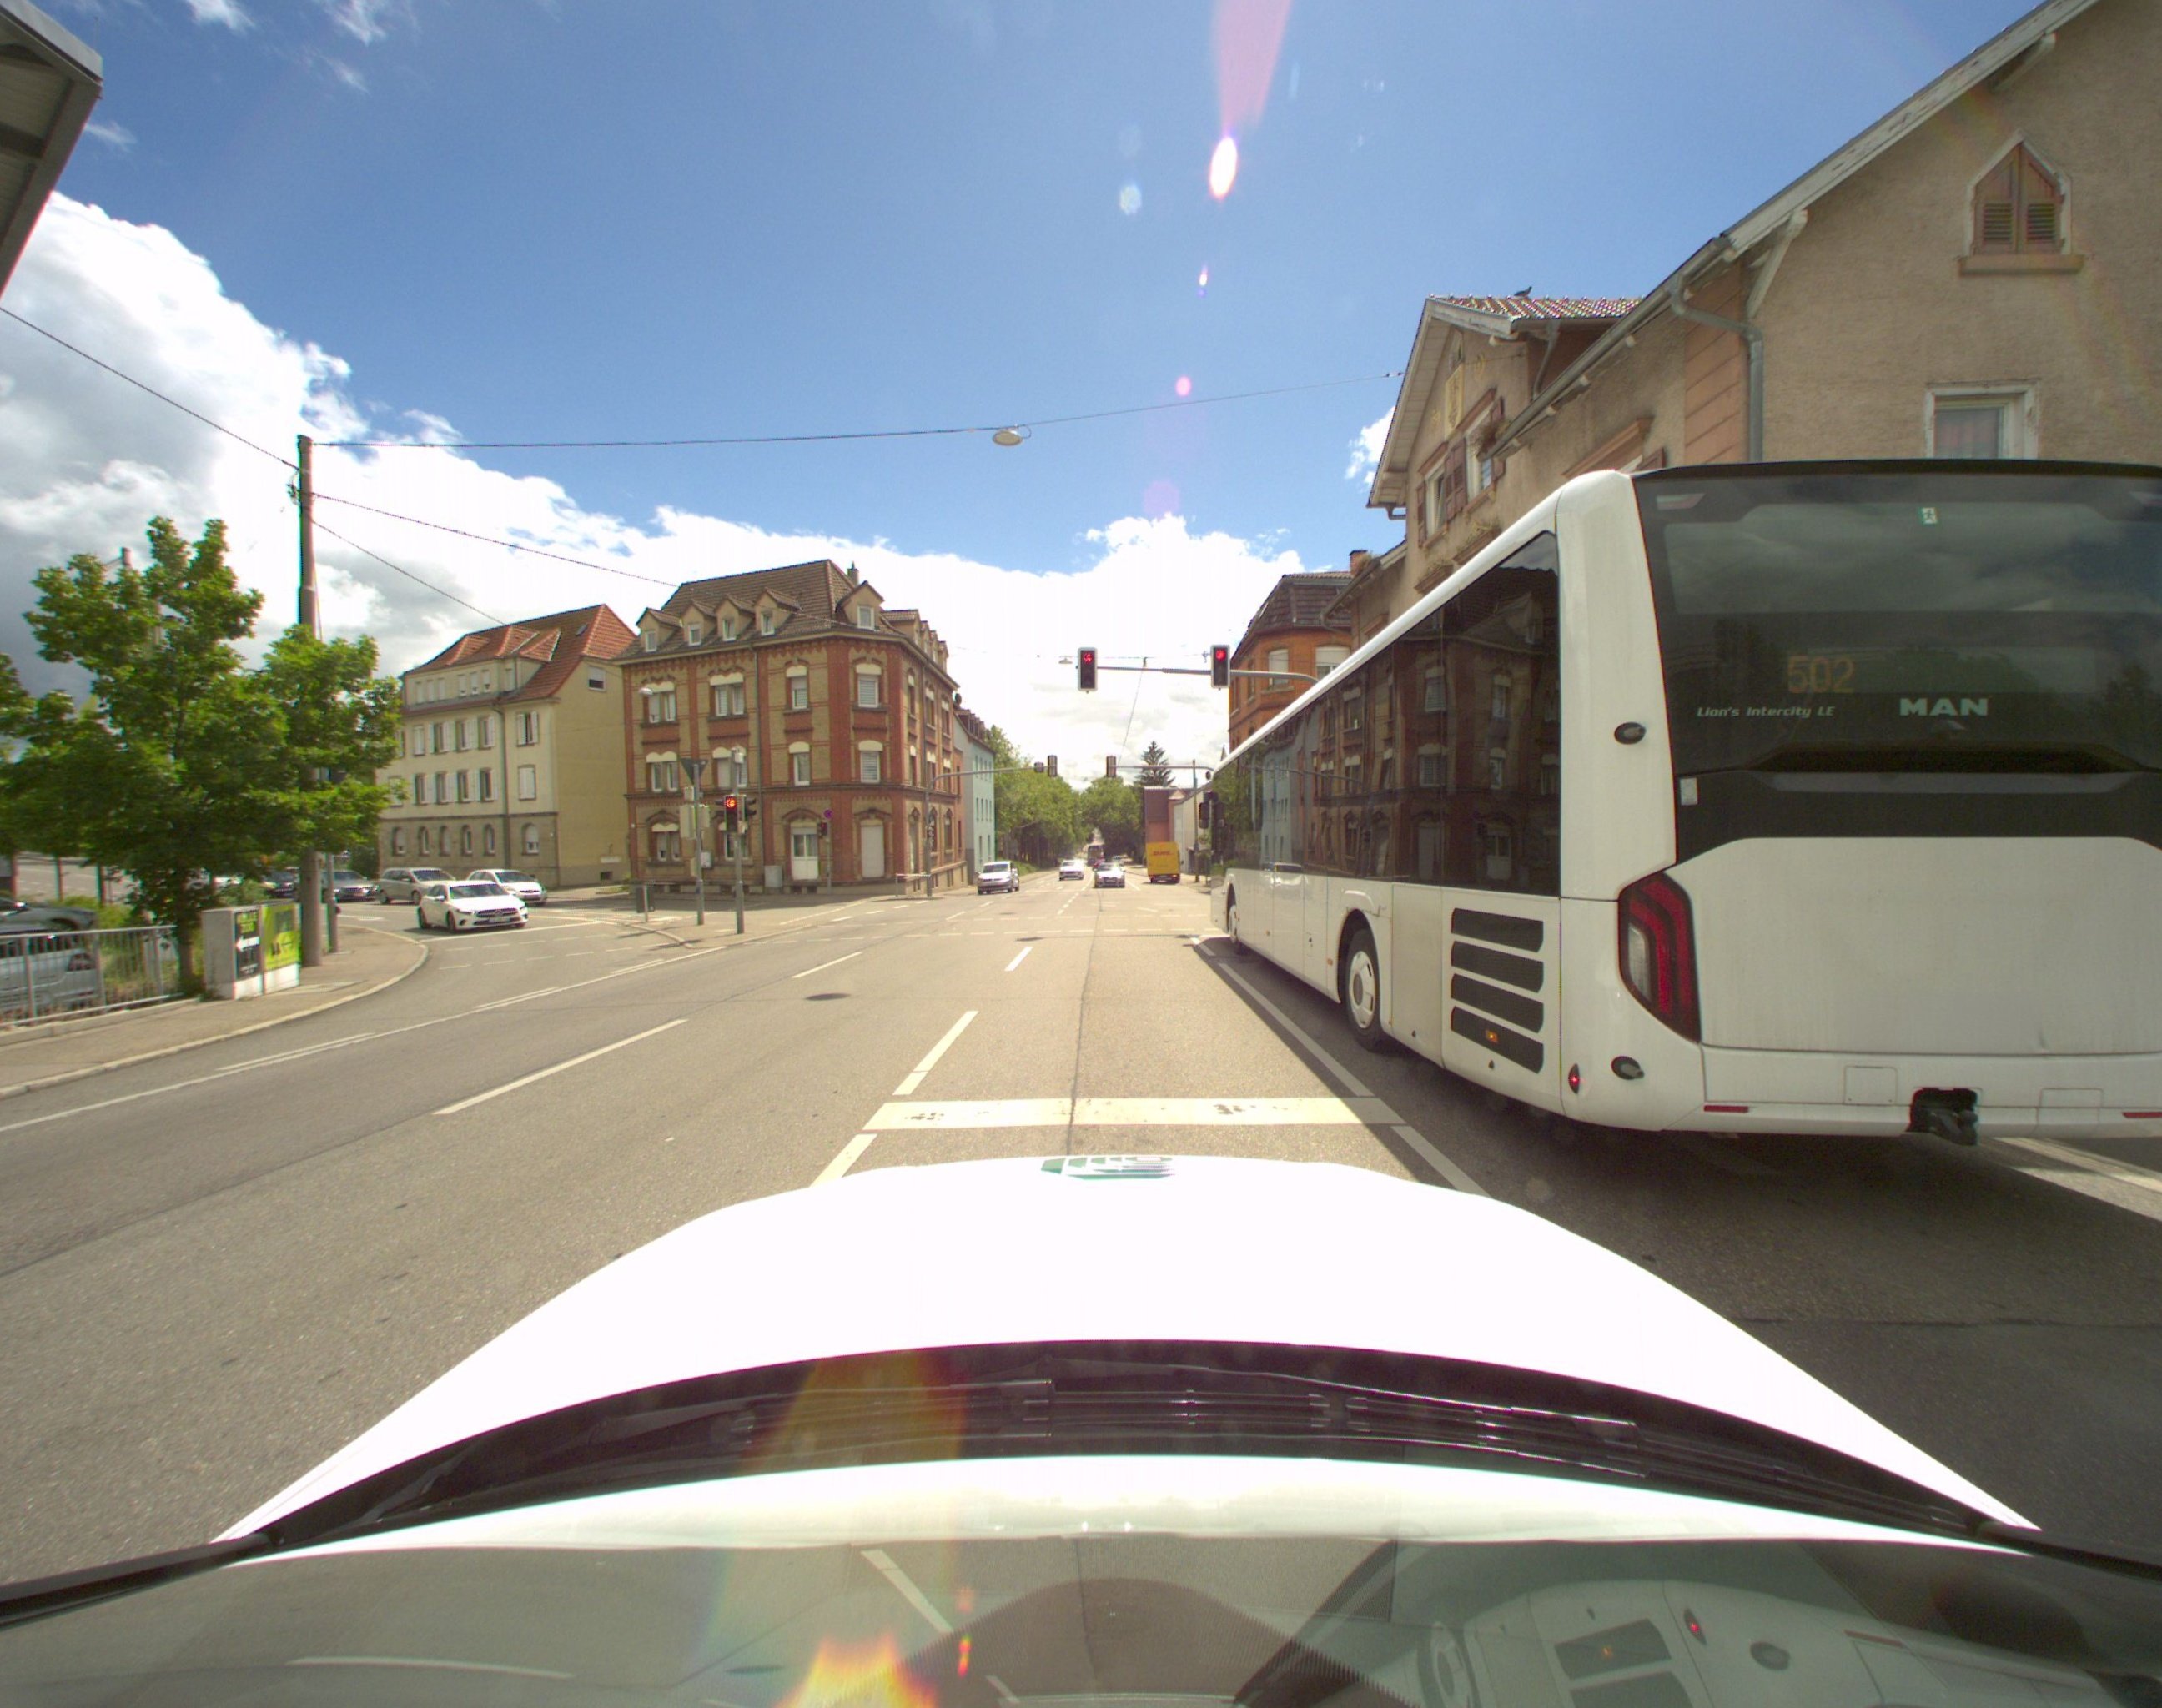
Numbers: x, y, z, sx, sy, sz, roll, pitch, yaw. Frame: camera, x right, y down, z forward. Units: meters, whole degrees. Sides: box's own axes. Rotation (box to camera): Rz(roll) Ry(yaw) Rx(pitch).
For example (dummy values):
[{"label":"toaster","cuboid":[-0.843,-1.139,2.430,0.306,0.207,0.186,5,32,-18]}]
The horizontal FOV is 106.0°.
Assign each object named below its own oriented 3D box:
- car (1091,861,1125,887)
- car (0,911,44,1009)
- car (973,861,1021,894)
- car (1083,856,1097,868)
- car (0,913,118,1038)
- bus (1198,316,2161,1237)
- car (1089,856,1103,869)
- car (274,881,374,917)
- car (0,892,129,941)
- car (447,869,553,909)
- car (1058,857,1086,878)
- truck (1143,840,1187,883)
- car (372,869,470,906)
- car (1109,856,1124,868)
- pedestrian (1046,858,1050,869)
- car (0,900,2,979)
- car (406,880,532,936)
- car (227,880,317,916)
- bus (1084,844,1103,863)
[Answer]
[{"label":"car","cuboid":[1.557,1.134,47.136,1.858,1.367,4.549,-2,0,2]},{"label":"car","cuboid":[-19.710,1.835,14.154,3.744,1.523,1.526,-1,0,30]},{"label":"car","cuboid":[-4.414,1.212,43.574,1.928,1.563,4.390,-2,0,2]},{"label":"car","cuboid":[1.474,1.330,137.318,2.086,1.830,4.140,-1,0,-1]},{"label":"car","cuboid":[-16.115,1.744,12.185,3.638,1.575,1.766,-1,-2,34]},{"label":"bus","cuboid":[3.502,-0.254,9.356,2.893,3.510,12.492,0,0,2]},{"label":"car","cuboid":[2.071,1.126,110.240,1.812,1.784,4.002,-2,0,2]},{"label":"car","cuboid":[-35.451,2.080,38.142,3.951,1.519,2.011,-1,0,24]},{"label":"car","cuboid":[-29.252,1.733,22.216,1.795,1.186,4.025,-1,0,31]},{"label":"car","cuboid":[-23.598,1.394,33.063,3.951,1.497,1.711,-1,0,24]},{"label":"car","cuboid":[-0.725,1.109,69.532,2.199,1.613,4.549,-2,0,2]},{"label":"truck","cuboid":[6.195,0.553,59.248,2.525,2.913,6.592,-1,-1,11]},{"label":"car","cuboid":[-29.206,1.471,36.050,3.951,1.519,1.757,-1,0,24]},{"label":"car","cuboid":[5.642,1.236,129.612,2.086,1.830,4.140,-1,0,-1]},{"label":"pedestrian","cuboid":[-5.508,1.631,137.046,0.604,1.758,0.653,-2,0,0]},{"label":"car","cuboid":[-23.402,1.739,16.434,3.371,1.575,1.526,-1,0,30]},{"label":"car","cuboid":[-18.244,1.544,24.217,4.334,1.447,1.875,-2,0,37]},{"label":"car","cuboid":[-40.090,2.133,40.334,4.291,1.586,2.012,-1,0,29]},{"label":"bus","cuboid":[2.445,-0.044,163.984,3.291,3.631,11.239,-2,0,-1]}]
